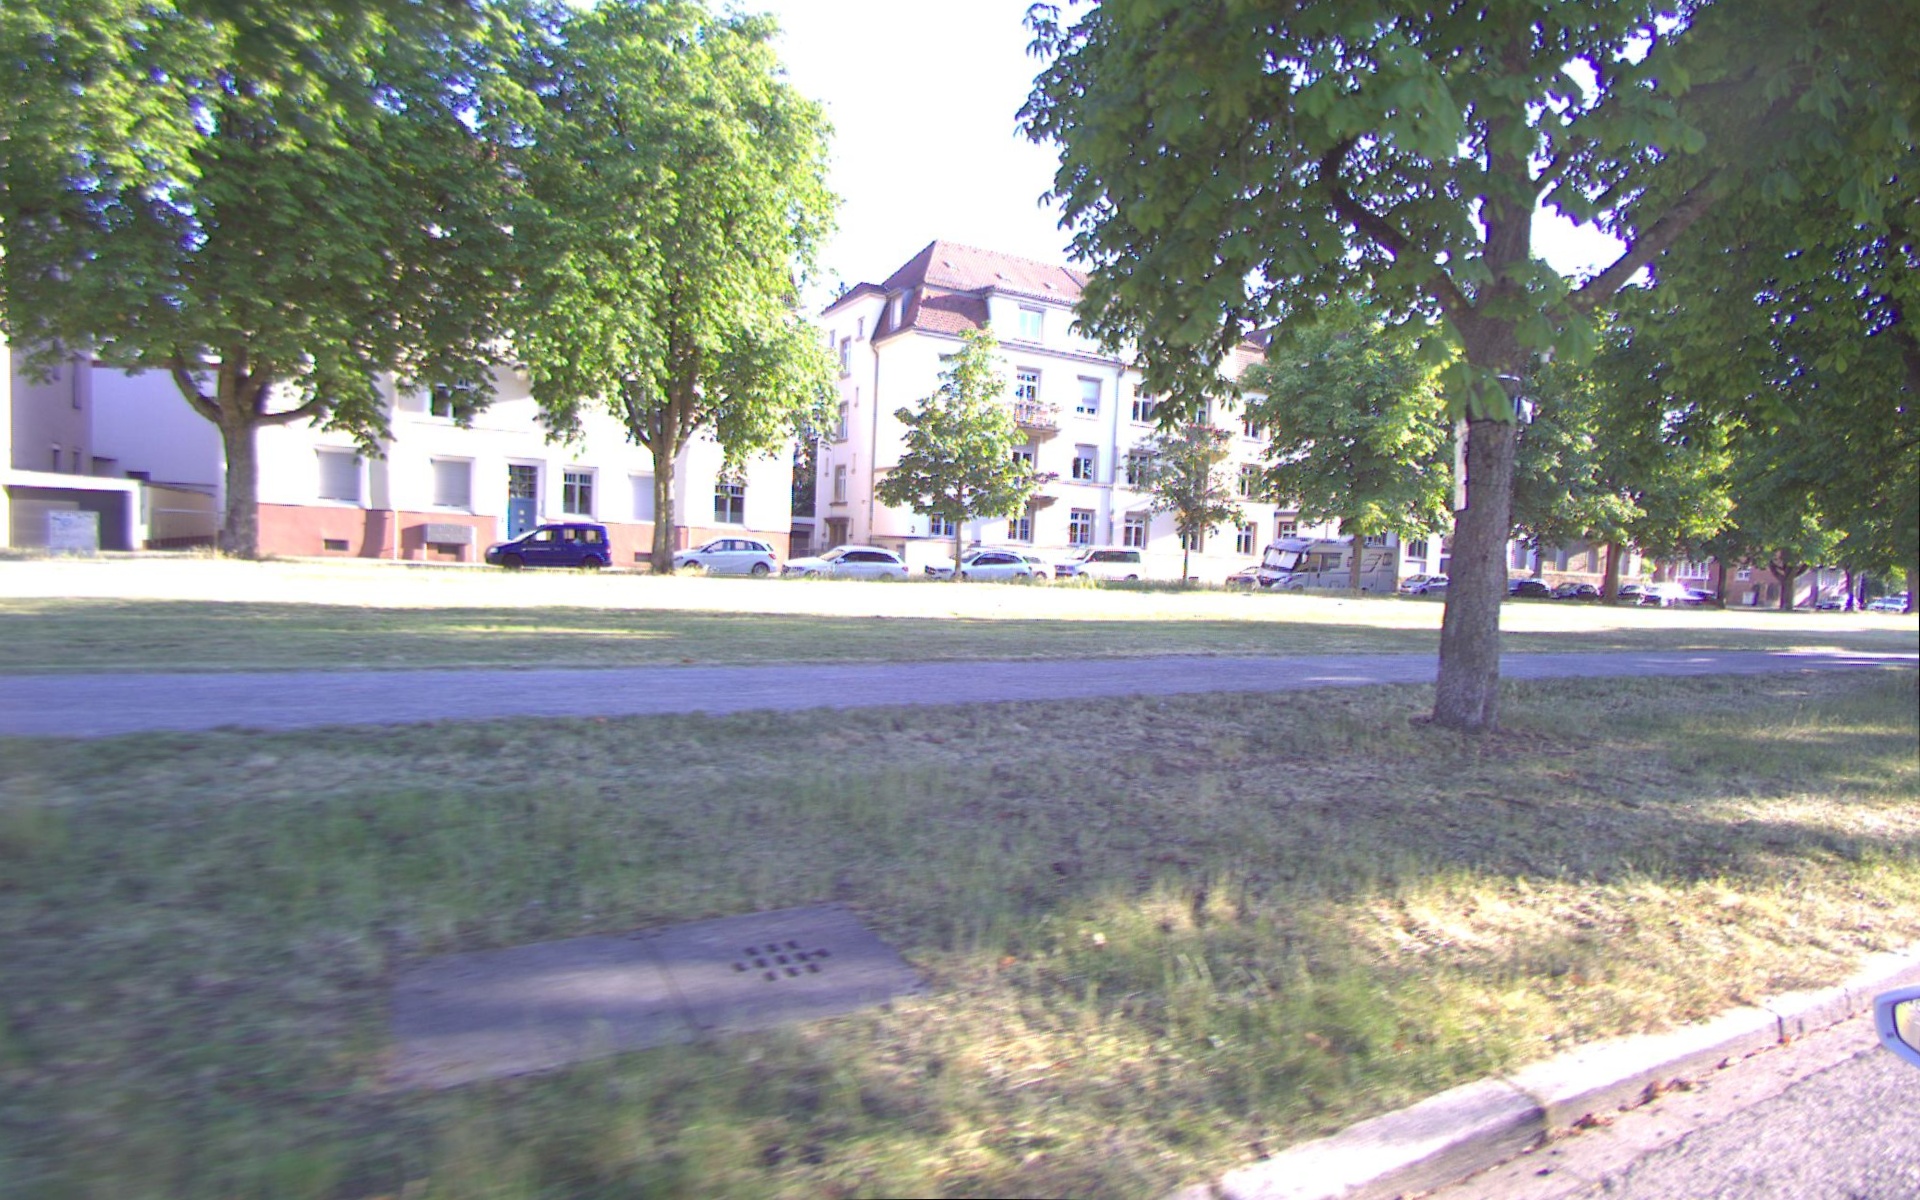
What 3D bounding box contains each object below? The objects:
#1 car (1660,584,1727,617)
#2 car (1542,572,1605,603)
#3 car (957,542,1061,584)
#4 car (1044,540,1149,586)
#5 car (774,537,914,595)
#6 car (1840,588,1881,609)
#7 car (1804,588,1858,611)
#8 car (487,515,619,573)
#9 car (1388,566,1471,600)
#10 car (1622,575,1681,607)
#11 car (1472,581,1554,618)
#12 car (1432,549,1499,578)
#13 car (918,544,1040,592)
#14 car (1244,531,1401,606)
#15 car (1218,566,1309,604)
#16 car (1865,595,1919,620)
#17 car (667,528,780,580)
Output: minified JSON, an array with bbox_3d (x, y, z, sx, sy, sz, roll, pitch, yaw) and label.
[{"bbox_3d":[48.096,0.054,65.849,4.072,1.805,1.803,2,5,-29],"label":"car"},{"bbox_3d":[42.042,-0.845,68.837,3.869,1.827,1.856,2,5,-30],"label":"car"},{"bbox_3d":[2.280,-1.696,46.311,4.421,1.663,1.833,1,6,-29],"label":"car"},{"bbox_3d":[6.683,-1.794,49.014,4.821,1.976,1.983,1,4,-31],"label":"car"},{"bbox_3d":[-4.149,-1.213,36.009,4.513,1.681,1.985,2,5,-28],"label":"car"},{"bbox_3d":[83.106,-0.165,92.695,3.811,1.665,1.631,2,5,-31],"label":"car"},{"bbox_3d":[76.146,-0.044,87.780,4.301,1.681,1.985,2,5,-28],"label":"car"},{"bbox_3d":[-14.900,-2.036,36.788,4.258,1.759,1.985,2,5,-28],"label":"car"},{"bbox_3d":[28.854,-1.058,61.715,5.101,1.712,1.983,2,5,-32],"label":"car"},{"bbox_3d":[51.205,-0.660,74.369,3.955,2.041,1.983,2,5,-31],"label":"car"},{"bbox_3d":[30.885,-0.019,56.106,4.263,1.696,1.871,2,5,-29],"label":"car"},{"bbox_3d":[36.058,-2.604,71.623,4.319,1.681,1.985,2,5,-28],"label":"car"},{"bbox_3d":[0.735,-1.225,38.769,4.368,1.575,1.786,1,6,-31],"label":"car"},{"bbox_3d":[17.475,-1.479,48.285,7.758,3.173,2.381,1,6,-29],"label":"car"},{"bbox_3d":[16.417,-0.786,54.256,4.513,1.681,1.985,2,5,-28],"label":"car"},{"bbox_3d":[74.767,0.574,80.470,3.935,1.681,2.014,2,5,-29],"label":"car"},{"bbox_3d":[-9.342,-1.826,39.689,3.950,1.681,1.985,2,5,-28],"label":"car"}]
